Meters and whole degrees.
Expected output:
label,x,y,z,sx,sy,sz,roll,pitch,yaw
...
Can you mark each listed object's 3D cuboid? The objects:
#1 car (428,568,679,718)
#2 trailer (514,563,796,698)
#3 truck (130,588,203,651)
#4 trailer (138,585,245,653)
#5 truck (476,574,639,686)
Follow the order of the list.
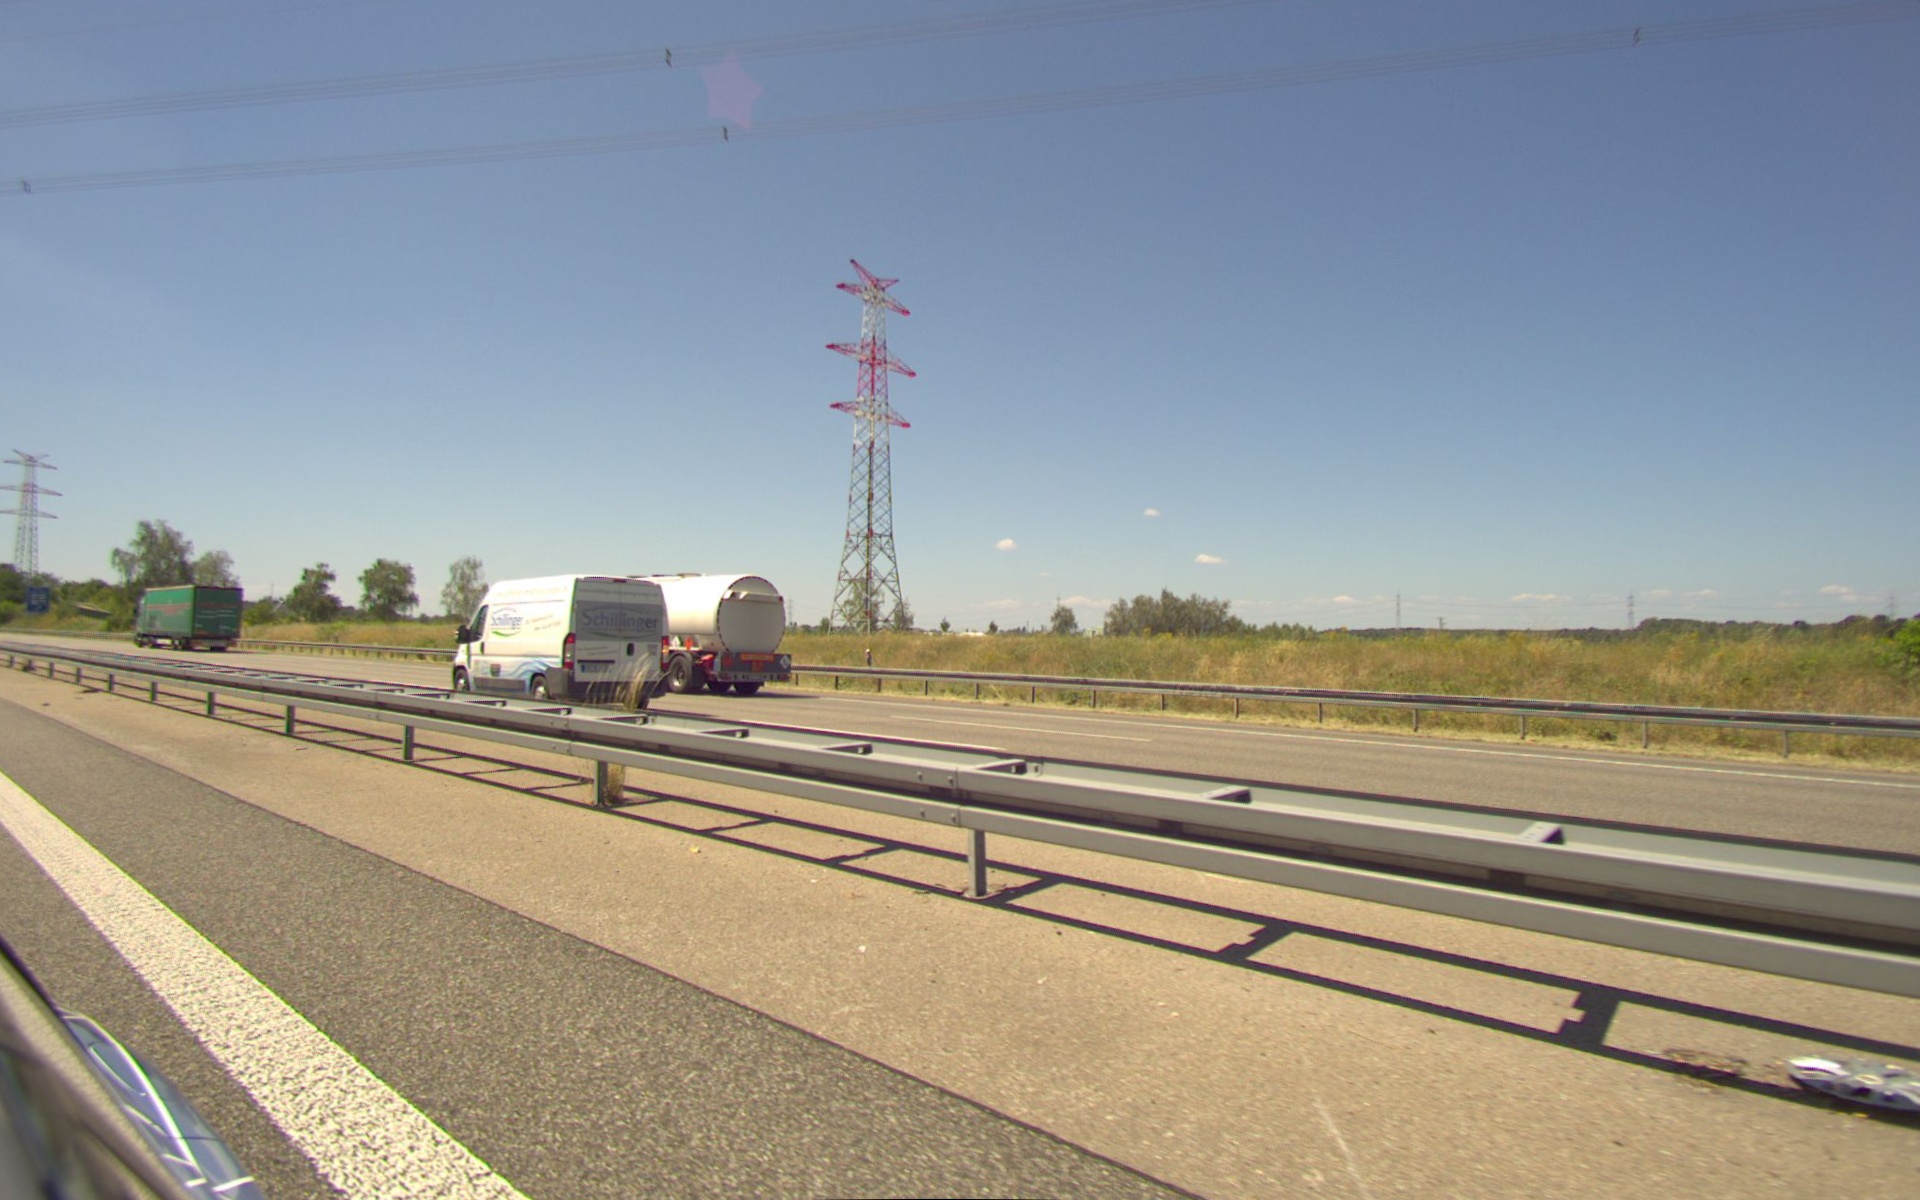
label,x,y,z,sx,sy,sz,roll,pitch,yaw
car,-7.925,0.785,19.363,6.028,2.456,1.972,-1,-3,42
trailer,-9.523,0.896,30.270,11.560,3.398,2.390,-1,-3,42
truck,-55.287,1.411,70.470,6.577,4.166,2.671,-1,-3,41
trailer,-50.805,1.302,66.644,13.907,4.116,2.641,-1,-3,41
truck,-13.549,1.008,33.873,6.208,3.404,2.457,-1,-3,41
